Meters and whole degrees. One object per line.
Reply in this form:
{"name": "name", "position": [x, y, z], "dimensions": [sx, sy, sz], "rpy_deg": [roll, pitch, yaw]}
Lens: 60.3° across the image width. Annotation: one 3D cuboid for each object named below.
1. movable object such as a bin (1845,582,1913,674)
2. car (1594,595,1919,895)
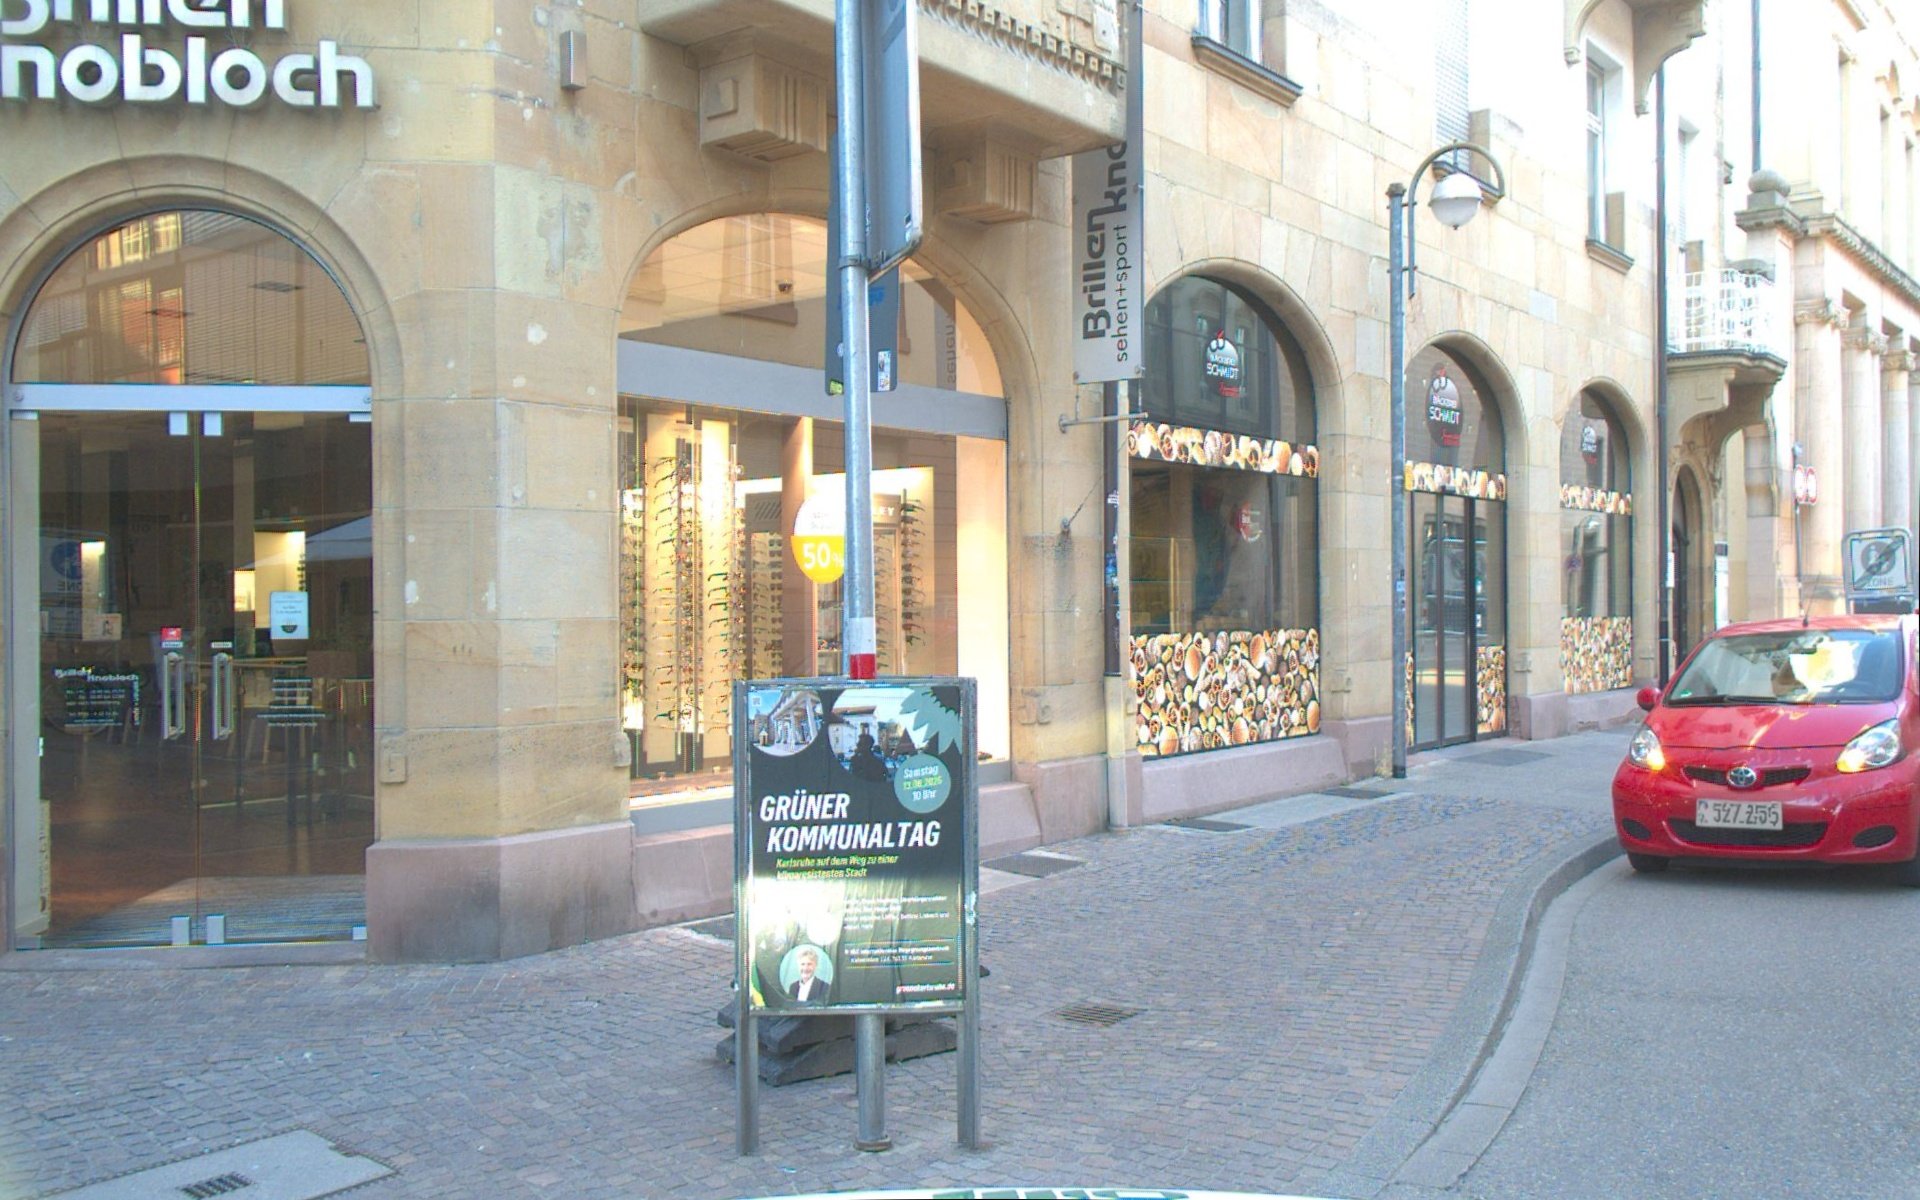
{"name": "movable object such as a bin", "position": [15.749, 0.461, 28.333], "dimensions": [0.816, 1.529, 1.285], "rpy_deg": [0, 1, 40]}
{"name": "car", "position": [5.453, 0.741, 10.249], "dimensions": [1.632, 1.495, 3.912], "rpy_deg": [-4, -2, 40]}
